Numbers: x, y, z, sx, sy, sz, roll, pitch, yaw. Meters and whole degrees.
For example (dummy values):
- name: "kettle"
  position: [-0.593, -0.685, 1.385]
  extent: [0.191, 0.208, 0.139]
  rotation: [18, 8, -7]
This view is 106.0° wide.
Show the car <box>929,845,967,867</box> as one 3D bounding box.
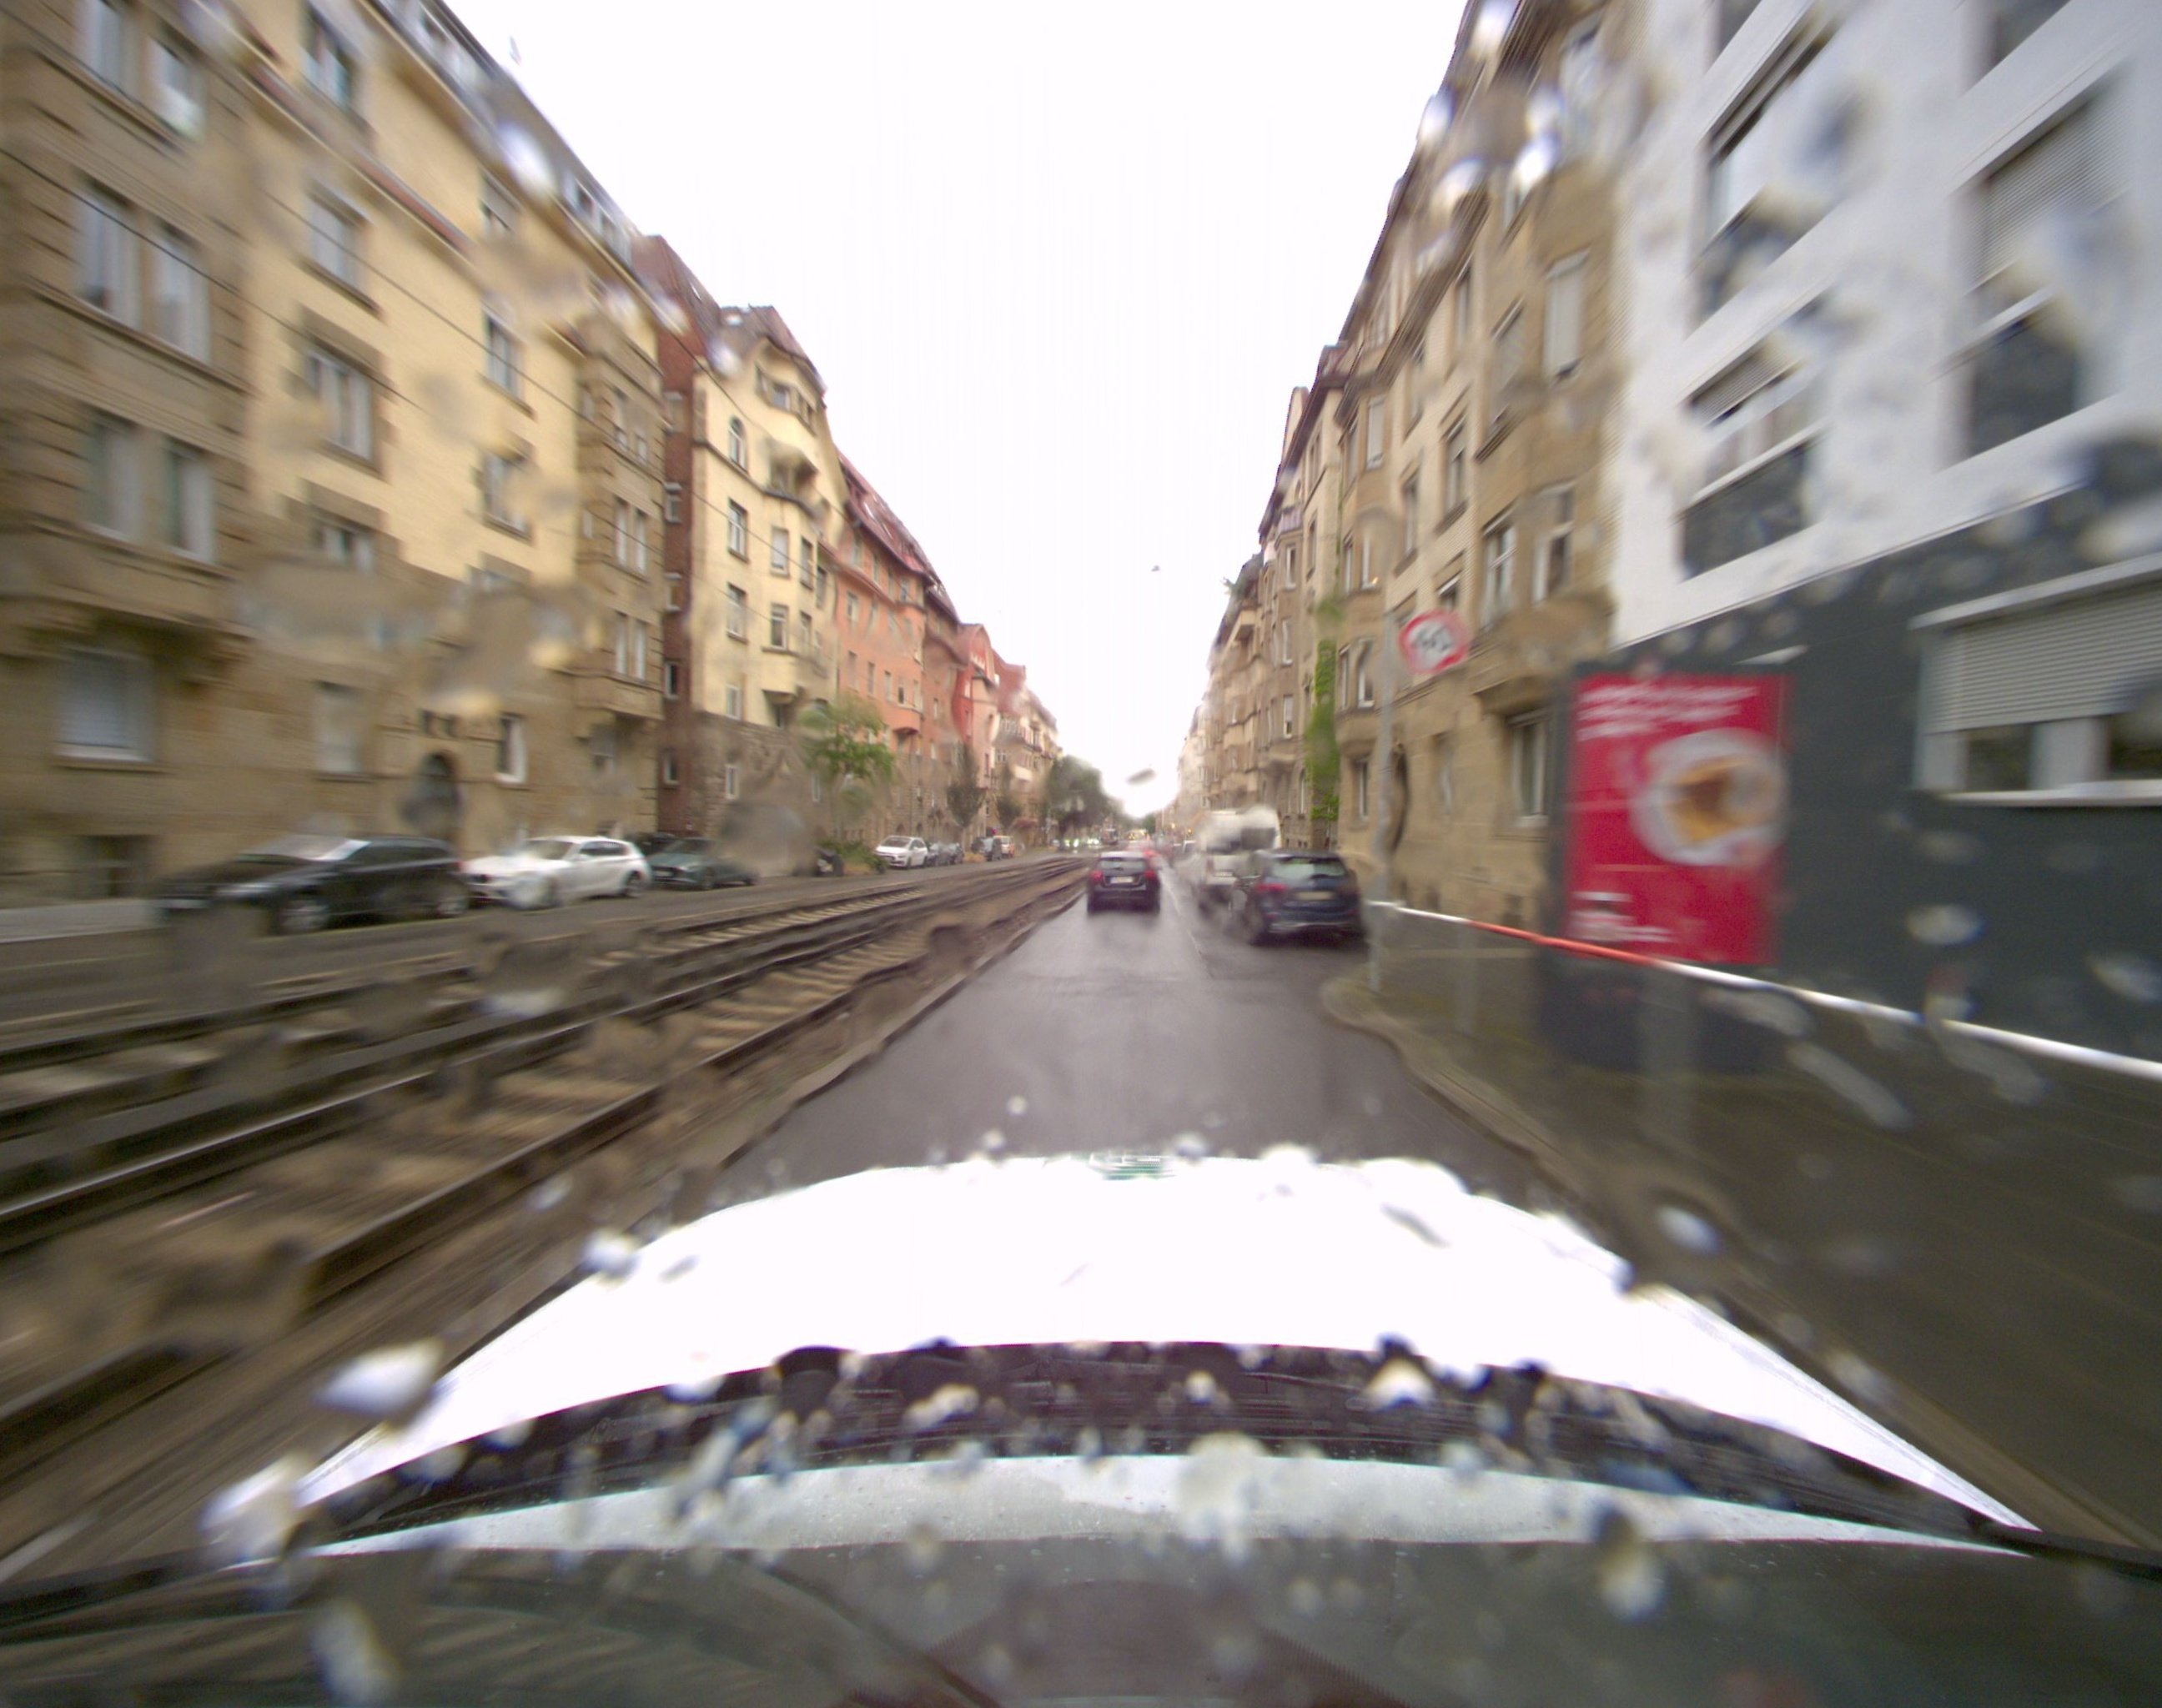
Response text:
- name: "car"
  position: [-8.622, 0.098, 53.102]
  extent: [1.636, 1.398, 3.886]
  rotation: [1, 1, 2]

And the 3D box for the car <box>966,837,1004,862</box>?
- name: "car"
  position: [-7.632, -0.347, 64.928]
  extent: [1.983, 1.901, 4.707]
  rotation: [1, 1, 6]

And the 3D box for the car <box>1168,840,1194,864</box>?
- name: "car"
  position: [7.086, -0.156, 57.860]
  extent: [1.702, 1.628, 4.008]
  rotation: [2, 1, 6]

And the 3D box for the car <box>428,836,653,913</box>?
- name: "car"
  position: [-11.343, 0.364, 17.520]
  extent: [1.658, 1.425, 4.270]
  rotation: [1, 1, 6]

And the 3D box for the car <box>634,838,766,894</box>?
- name: "car"
  position: [-10.822, 0.294, 23.461]
  extent: [1.554, 1.438, 4.151]
  rotation: [1, 1, 4]

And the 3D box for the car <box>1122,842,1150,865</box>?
- name: "car"
  position: [4.177, -0.061, 62.710]
  extent: [1.915, 1.655, 4.001]
  rotation: [1, 1, 1]

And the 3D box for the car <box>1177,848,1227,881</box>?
- name: "car"
  position: [5.684, 0.451, 38.678]
  extent: [1.985, 1.441, 4.004]
  rotation: [0, 0, 4]

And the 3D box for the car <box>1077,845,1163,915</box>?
- name: "car"
  position: [1.000, 0.583, 20.279]
  extent: [1.937, 1.564, 3.646]
  rotation: [0, 0, 3]

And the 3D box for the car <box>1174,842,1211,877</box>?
- name: "car"
  position: [5.900, 0.251, 43.528]
  extent: [1.766, 1.776, 4.367]
  rotation: [0, 1, 5]

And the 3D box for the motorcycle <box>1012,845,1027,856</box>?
- name: "motorcycle"
  position: [-6.306, -0.346, 83.117]
  extent: [1.423, 1.134, 0.624]
  rotation: [2, 1, 34]

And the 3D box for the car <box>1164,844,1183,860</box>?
- name: "car"
  position: [8.486, -0.214, 74.977]
  extent: [1.595, 1.419, 3.151]
  rotation: [1, 1, 3]

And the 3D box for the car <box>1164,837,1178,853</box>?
- name: "car"
  position: [12.333, -1.222, 111.817]
  extent: [1.889, 2.028, 4.182]
  rotation: [0, 0, 5]

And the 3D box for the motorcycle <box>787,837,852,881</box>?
- name: "motorcycle"
  position: [-10.182, 0.187, 31.781]
  extent: [2.261, 1.642, 1.287]
  rotation: [1, 0, -13]

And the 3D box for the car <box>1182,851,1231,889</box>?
- name: "car"
  position: [5.134, 0.624, 33.700]
  extent: [1.668, 1.411, 4.005]
  rotation: [1, 1, 4]

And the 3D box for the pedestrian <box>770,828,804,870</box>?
- name: "pedestrian"
  position: [-12.540, -0.217, 34.807]
  extent: [1.002, 1.753, 0.926]
  rotation: [2, 1, 4]

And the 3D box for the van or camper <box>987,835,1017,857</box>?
- name: "van or camper"
  position: [-6.992, -0.733, 72.549]
  extent: [1.985, 1.901, 4.703]
  rotation: [1, 1, 3]

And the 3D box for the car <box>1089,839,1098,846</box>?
- name: "car"
  position: [2.811, -2.563, 183.166]
  extent: [1.789, 1.548, 4.001]
  rotation: [1, 1, 1]

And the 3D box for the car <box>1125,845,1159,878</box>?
- name: "car"
  position: [3.042, 0.348, 40.054]
  extent: [1.528, 1.510, 4.006]
  rotation: [2, 0, 5]

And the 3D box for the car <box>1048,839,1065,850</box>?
- name: "car"
  position: [-3.521, -1.354, 116.626]
  extent: [1.984, 1.517, 4.006]
  rotation: [1, 1, 5]

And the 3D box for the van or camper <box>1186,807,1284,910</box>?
- name: "van or camper"
  position: [4.134, 0.082, 22.863]
  extent: [2.055, 2.469, 6.127]
  rotation: [1, 0, 5]

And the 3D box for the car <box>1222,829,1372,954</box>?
- name: "car"
  position: [3.600, 0.534, 14.381]
  extent: [1.760, 1.808, 4.488]
  rotation: [2, 1, 5]

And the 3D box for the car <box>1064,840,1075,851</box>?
- name: "car"
  position: [-1.925, -1.418, 134.711]
  extent: [1.784, 1.691, 3.998]
  rotation: [1, 1, -1]

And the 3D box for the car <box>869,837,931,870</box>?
- name: "car"
  position: [-9.301, -0.026, 42.223]
  extent: [1.775, 1.589, 4.359]
  rotation: [1, 1, 7]

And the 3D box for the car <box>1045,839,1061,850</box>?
- name: "car"
  position: [-3.810, -1.224, 111.304]
  extent: [1.763, 1.464, 4.006]
  rotation: [1, 0, 5]

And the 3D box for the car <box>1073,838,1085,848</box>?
- name: "car"
  position: [-0.349, -2.125, 154.743]
  extent: [1.984, 1.793, 4.006]
  rotation: [2, 1, 5]

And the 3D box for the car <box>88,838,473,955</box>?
- name: "car"
  position: [-11.906, 0.540, 12.573]
  extent: [1.756, 1.486, 4.006]
  rotation: [1, 0, 5]

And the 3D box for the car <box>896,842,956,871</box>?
- name: "car"
  position: [-9.015, 0.096, 47.811]
  extent: [1.984, 1.509, 4.983]
  rotation: [3, 1, 6]
